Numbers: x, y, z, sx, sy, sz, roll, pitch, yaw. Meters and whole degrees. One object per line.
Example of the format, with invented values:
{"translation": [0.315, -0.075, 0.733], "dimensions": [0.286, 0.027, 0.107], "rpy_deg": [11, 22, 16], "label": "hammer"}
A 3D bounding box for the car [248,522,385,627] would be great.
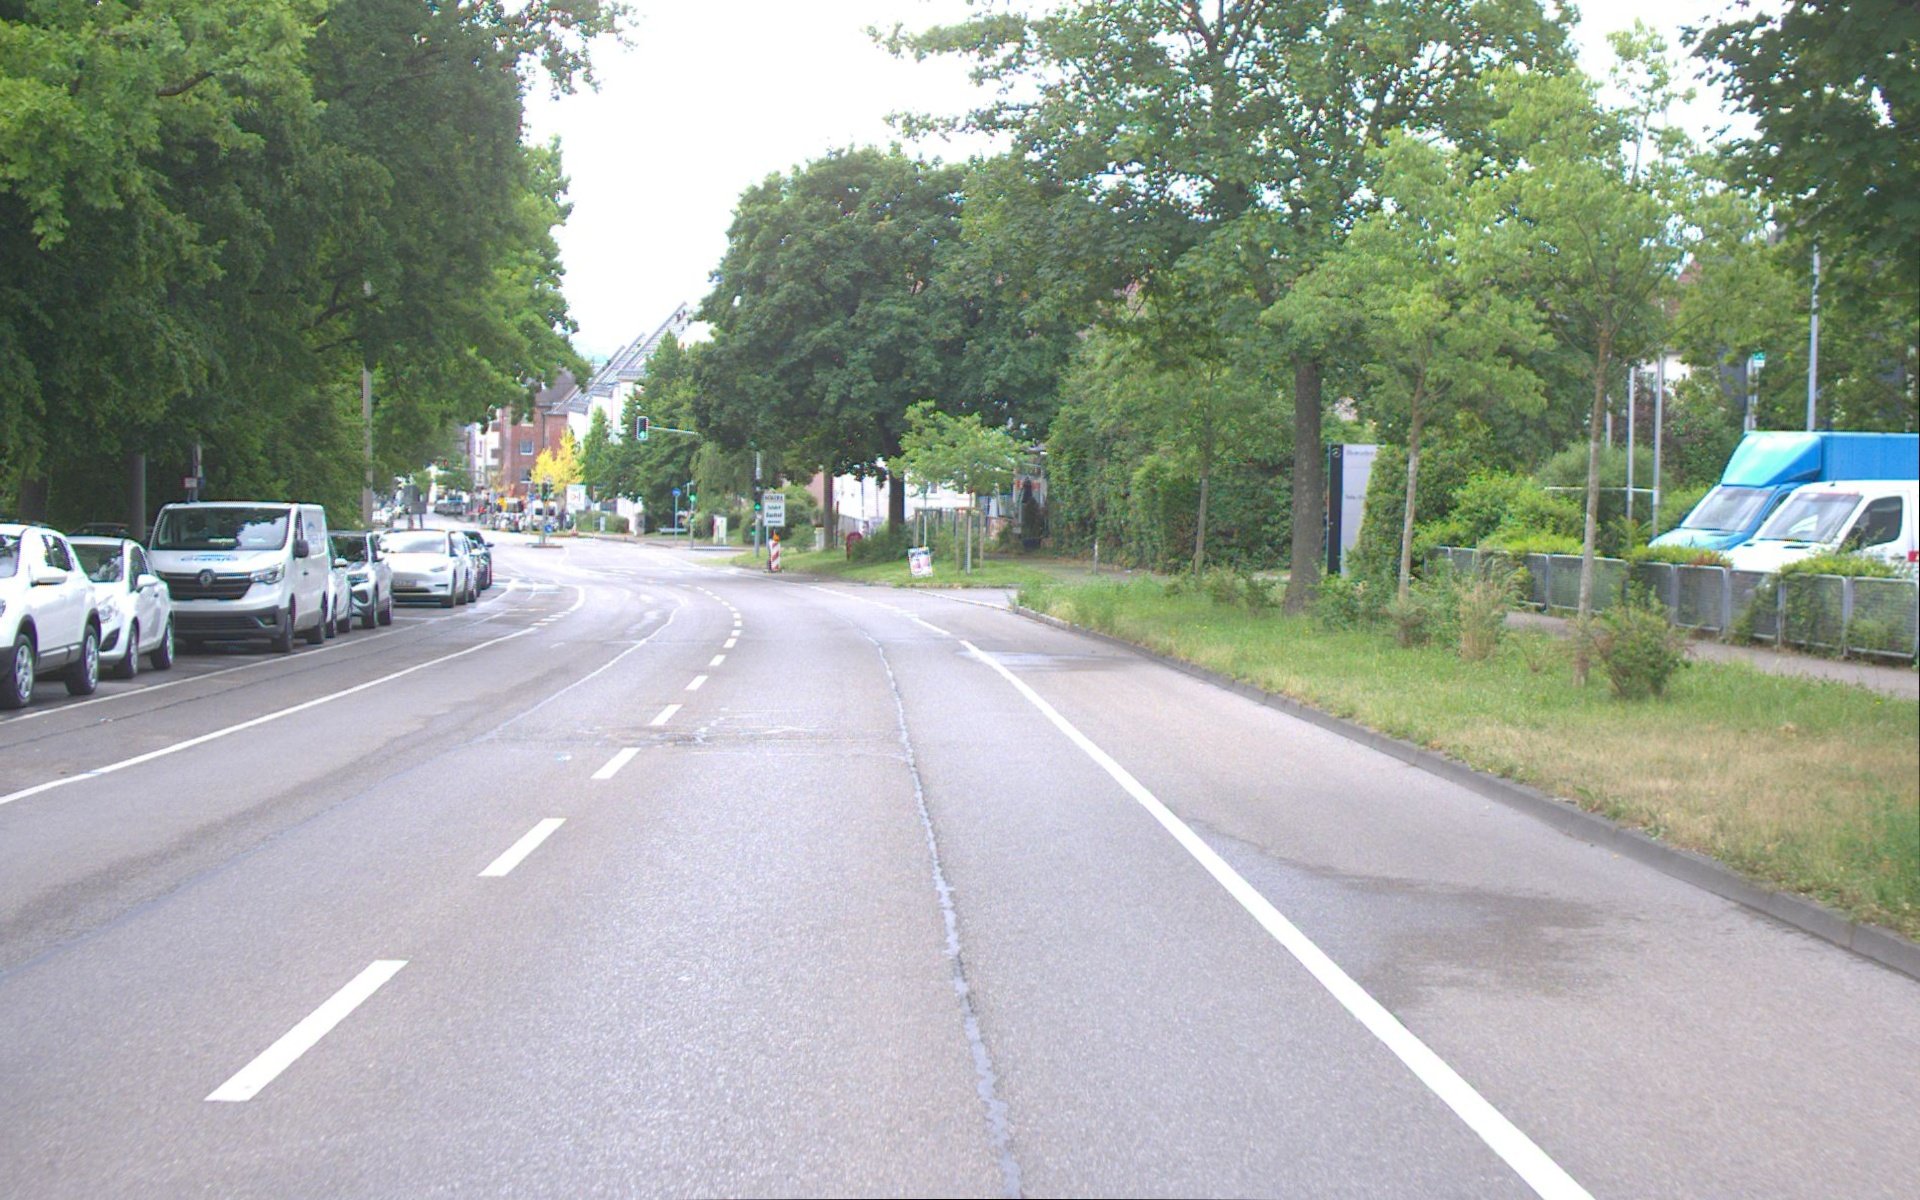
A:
{"translation": [-9.470, -0.396, 50.796], "dimensions": [1.581, 1.477, 3.720], "rpy_deg": [0, 1, -4], "label": "car"}

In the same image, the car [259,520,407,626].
{"translation": [-10.044, -0.459, 55.347], "dimensions": [1.766, 1.628, 4.158], "rpy_deg": [0, 1, -2], "label": "car"}

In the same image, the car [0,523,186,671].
{"translation": [-9.408, -0.066, 36.563], "dimensions": [1.662, 1.474, 4.091], "rpy_deg": [0, 1, -4], "label": "car"}

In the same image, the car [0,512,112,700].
{"translation": [-8.830, 0.008, 30.617], "dimensions": [1.673, 1.559, 4.282], "rpy_deg": [0, 1, -3], "label": "car"}

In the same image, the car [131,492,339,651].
{"translation": [-9.437, -0.398, 45.108], "dimensions": [1.866, 1.957, 5.127], "rpy_deg": [0, 1, -3], "label": "car"}

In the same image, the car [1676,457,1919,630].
{"translation": [13.592, -0.774, 49.811], "dimensions": [6.009, 2.359, 2.363], "rpy_deg": [1, 1, -25], "label": "car"}

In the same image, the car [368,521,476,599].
{"translation": [-11.229, -0.843, 71.965], "dimensions": [1.767, 1.567, 4.760], "rpy_deg": [0, 1, -3], "label": "car"}

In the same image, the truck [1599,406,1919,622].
{"translation": [14.476, -1.431, 57.758], "dimensions": [7.162, 3.465, 2.620], "rpy_deg": [0, 2, -26], "label": "truck"}
